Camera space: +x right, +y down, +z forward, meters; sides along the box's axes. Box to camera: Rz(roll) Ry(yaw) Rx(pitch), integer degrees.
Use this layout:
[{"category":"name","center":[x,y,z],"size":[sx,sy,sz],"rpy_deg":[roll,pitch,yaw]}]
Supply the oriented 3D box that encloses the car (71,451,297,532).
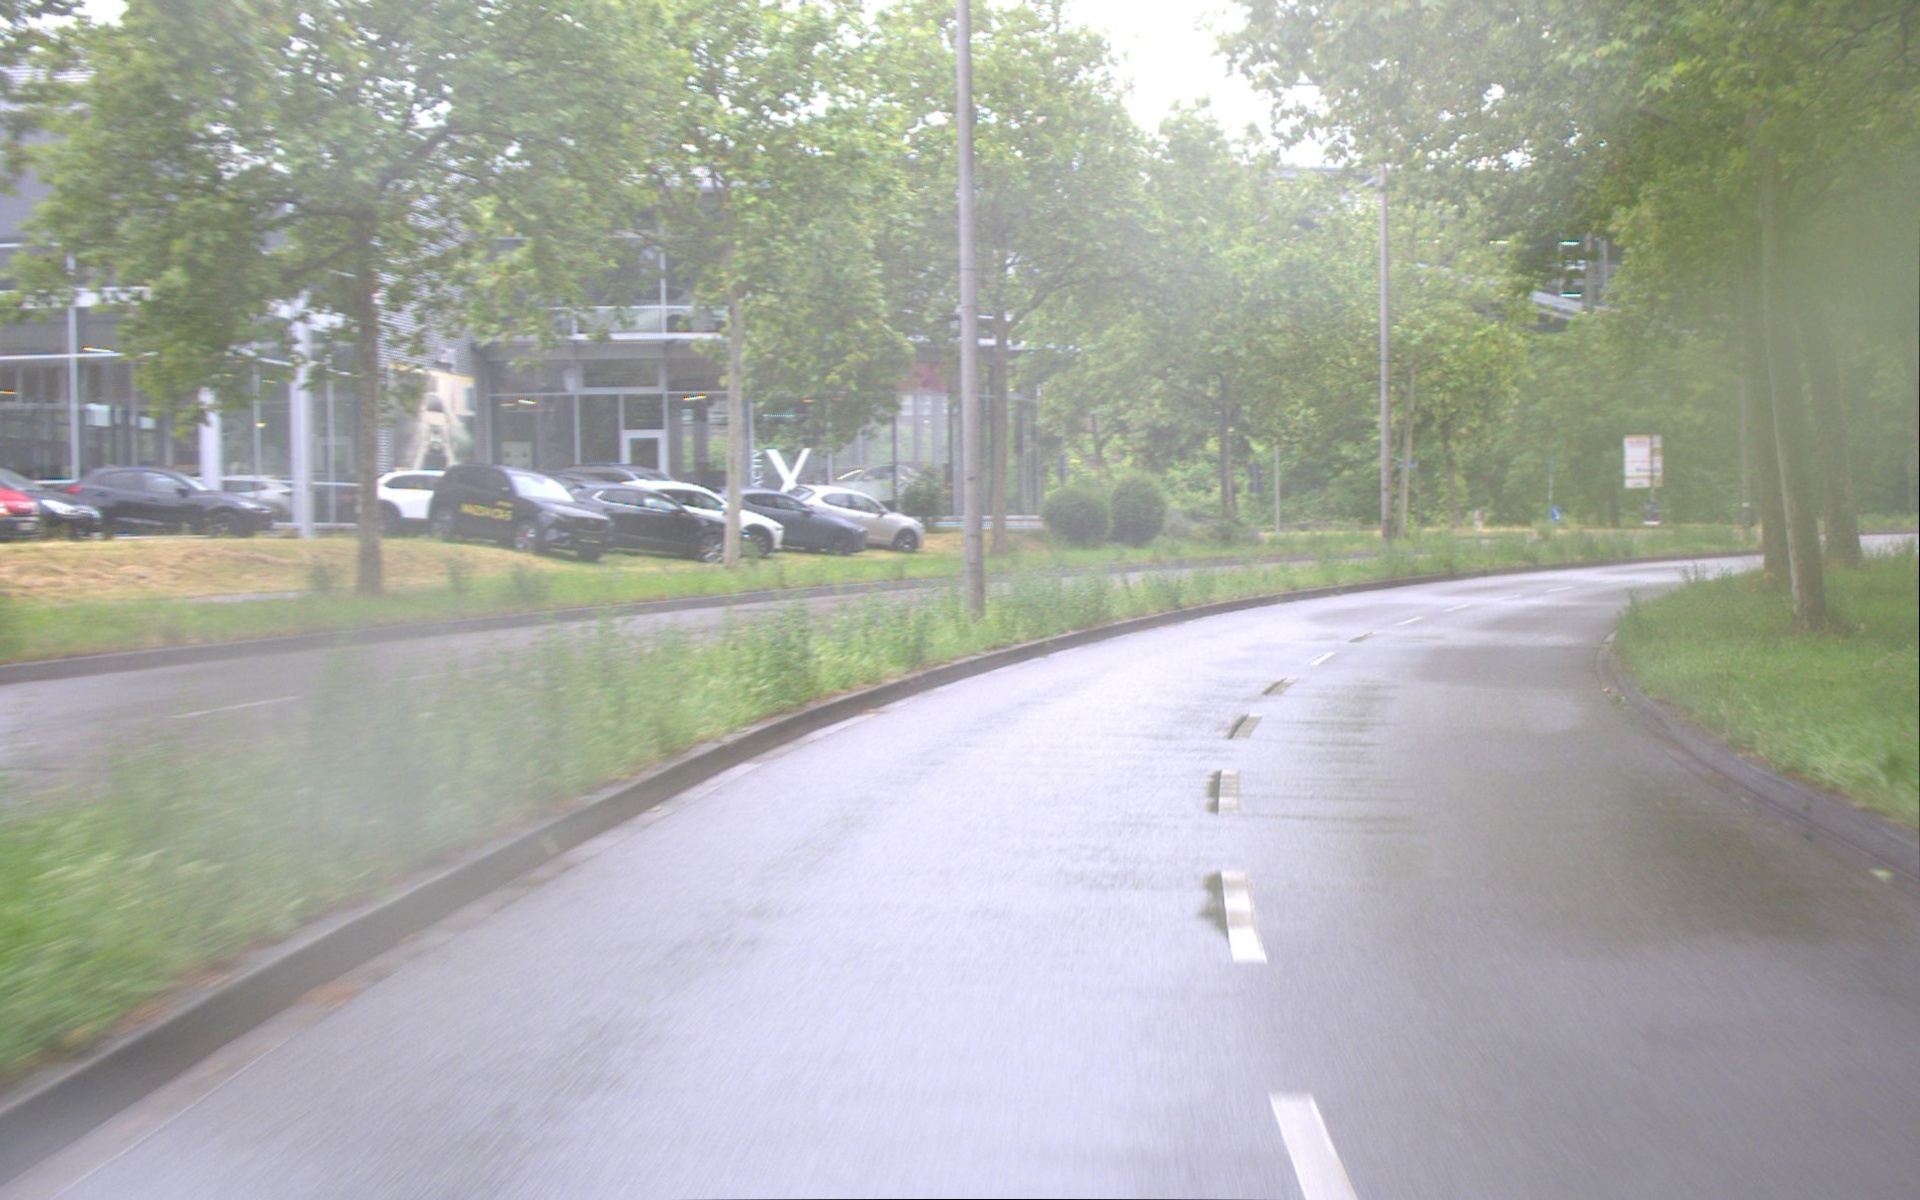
[{"category":"car","center":[-14.851,-2.091,65.955],"size":[3.995,1.352,1.848],"rpy_deg":[2,3,-6]}]

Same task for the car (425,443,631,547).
[{"category":"car","center":[-8.975,-2.182,71.187],"size":[1.842,1.551,4.435],"rpy_deg":[3,6,-44]}]

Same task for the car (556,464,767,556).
[{"category":"car","center":[-6.502,-1.961,74.795],"size":[4.115,1.473,1.849],"rpy_deg":[5,5,-19]}]

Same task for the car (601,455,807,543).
[{"category":"car","center":[-5.779,-2.275,77.643],"size":[4.115,1.473,1.848],"rpy_deg":[5,5,-27]}]

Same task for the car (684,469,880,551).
[{"category":"car","center":[-4.208,-2.127,81.288],"size":[4.115,1.417,1.849],"rpy_deg":[5,5,-23]}]

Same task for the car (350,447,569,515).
[{"category":"car","center":[-11.072,-2.636,76.100],"size":[4.423,1.468,1.919],"rpy_deg":[1,2,10]}]

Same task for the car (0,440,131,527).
[{"category":"car","center":[-16.500,-2.049,58.978],"size":[3.998,1.352,1.847],"rpy_deg":[3,3,12]}]

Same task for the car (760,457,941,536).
[{"category":"car","center":[-2.713,-2.560,85.363],"size":[3.986,1.470,1.785],"rpy_deg":[4,5,-32]}]

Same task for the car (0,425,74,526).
[{"category":"car","center":[-16.739,-2.109,56.053],"size":[3.998,1.551,1.847],"rpy_deg":[3,3,12]}]
